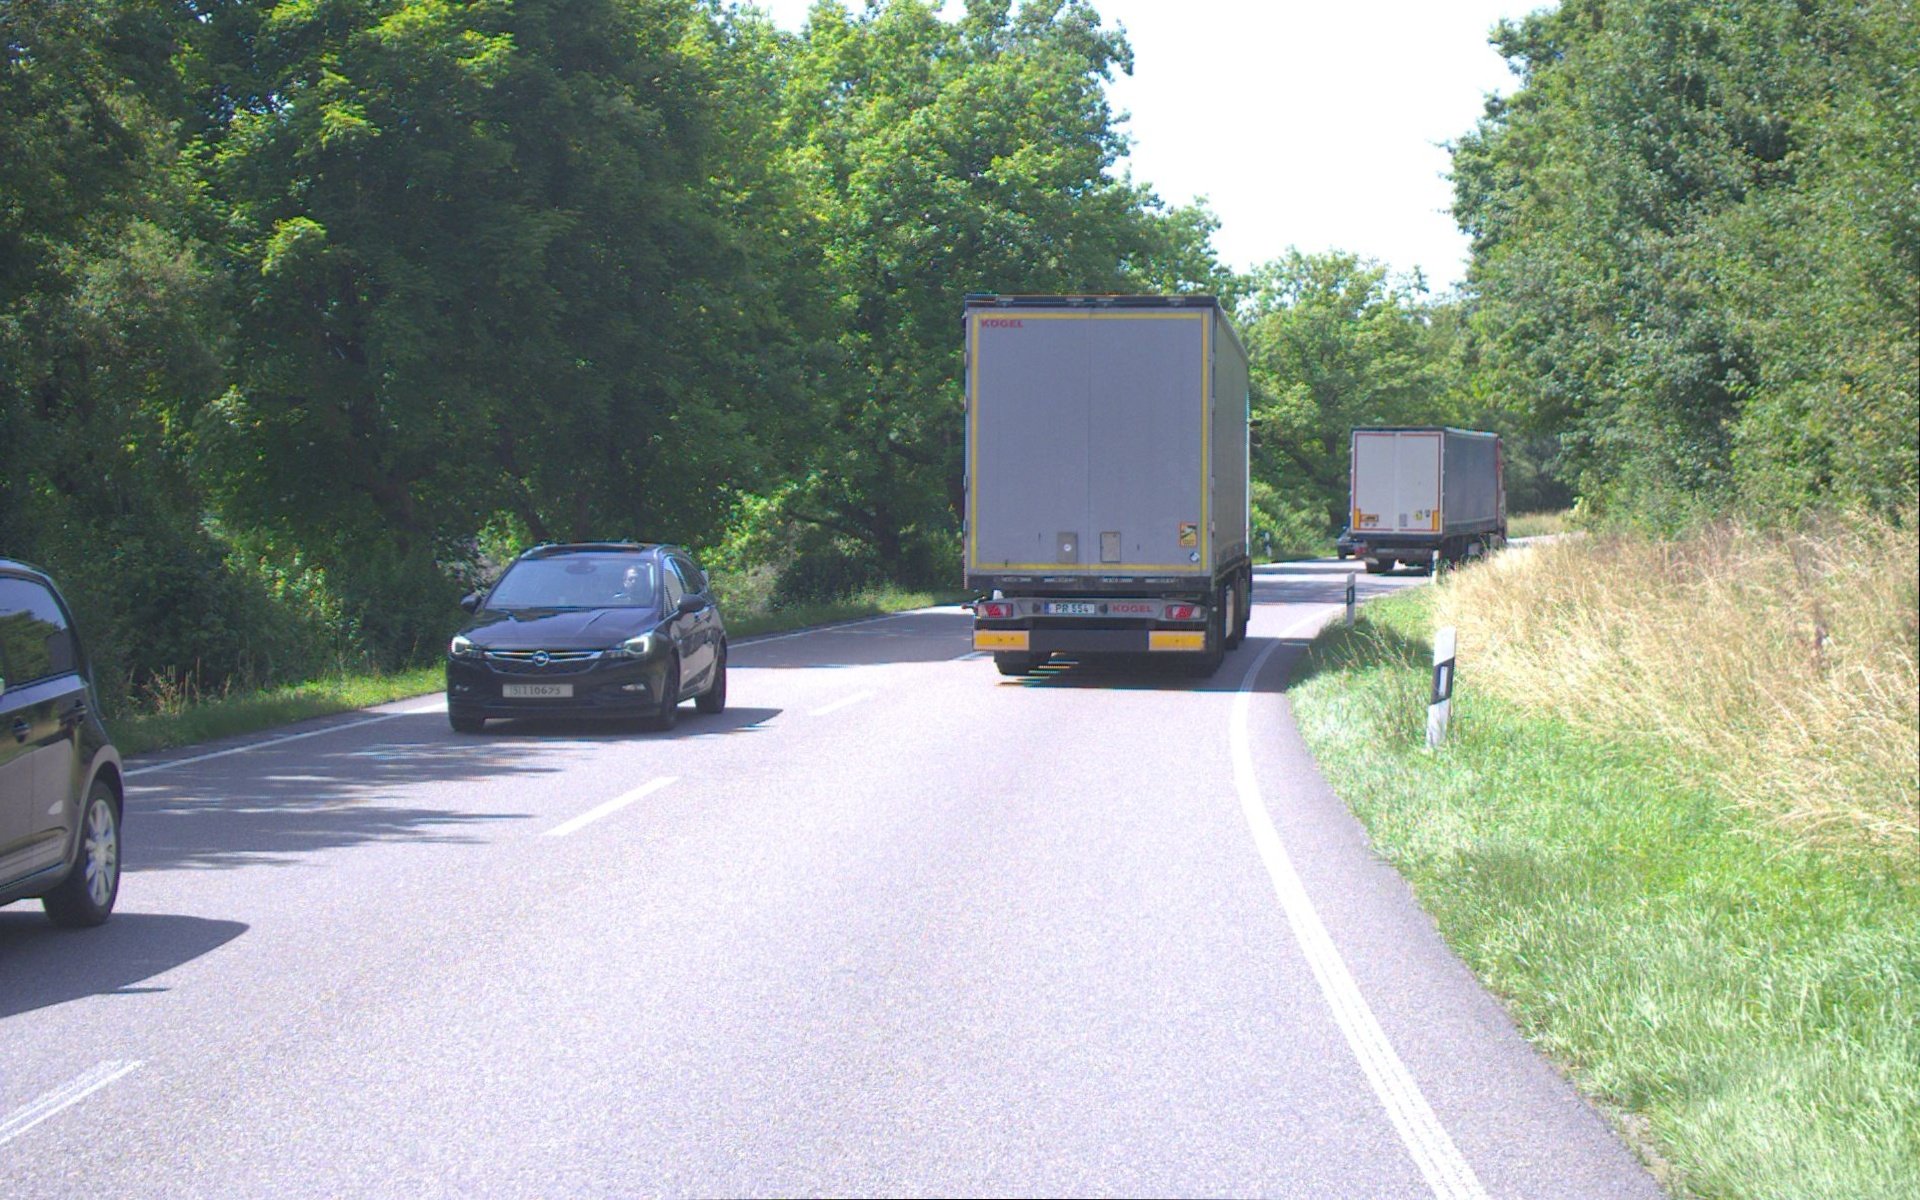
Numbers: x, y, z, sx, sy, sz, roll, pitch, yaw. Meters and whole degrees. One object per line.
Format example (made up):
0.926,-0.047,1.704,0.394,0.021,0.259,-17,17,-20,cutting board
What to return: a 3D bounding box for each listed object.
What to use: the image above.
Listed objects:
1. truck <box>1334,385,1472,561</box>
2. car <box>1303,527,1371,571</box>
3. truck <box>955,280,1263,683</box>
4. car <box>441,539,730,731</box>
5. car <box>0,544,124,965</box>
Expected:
13.095,-3.711,100.392,3.106,4.689,16.583,0,2,10,truck
12.666,-1.719,115.272,1.759,1.427,4.267,0,1,13,car
2.172,-1.330,42.425,2.802,4.054,15.322,1,1,6,truck
-3.002,0.233,28.385,1.710,1.466,4.375,0,1,3,car
-4.064,0.540,12.043,1.429,1.466,3.272,0,1,1,car
